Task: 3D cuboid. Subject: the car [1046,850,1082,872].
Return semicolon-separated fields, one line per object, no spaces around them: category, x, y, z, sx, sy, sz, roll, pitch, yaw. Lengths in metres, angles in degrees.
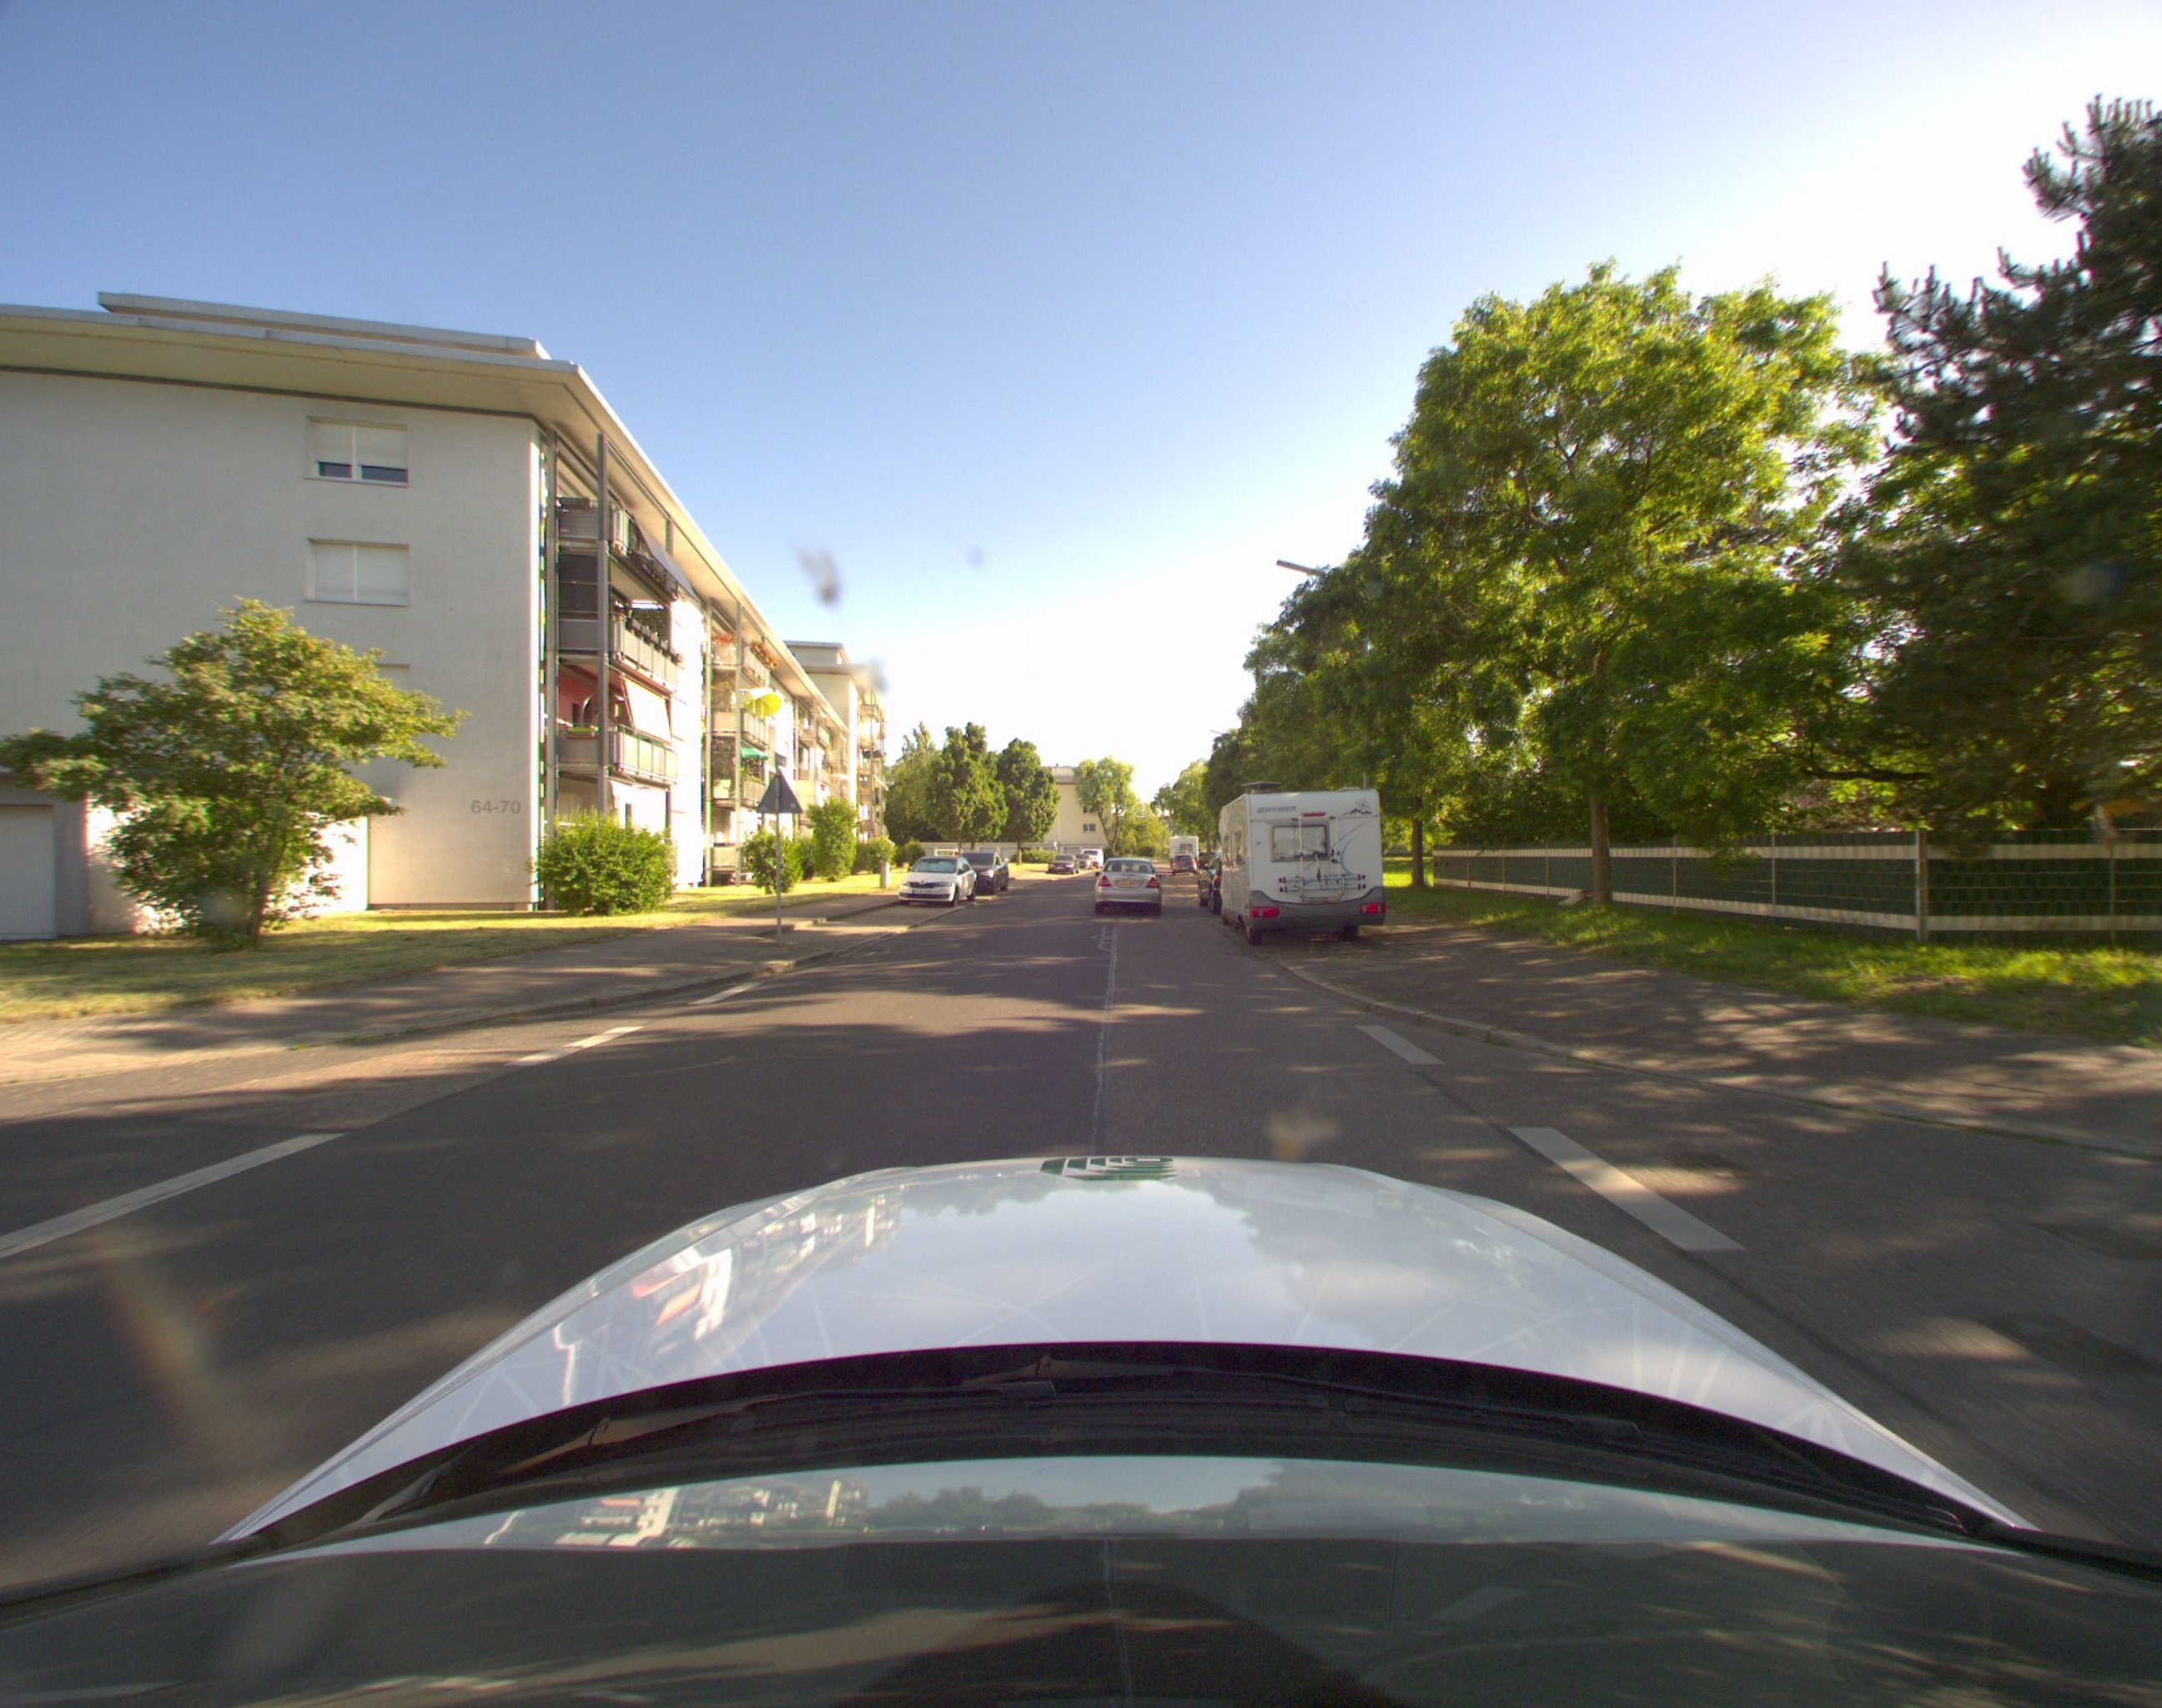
car;-1.209;0.487;60.209;2.024;1.493;5.265;0;0;6

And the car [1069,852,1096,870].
car;0.185;0.641;73.160;1.823;1.518;4.230;2;0;7

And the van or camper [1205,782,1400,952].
van or camper;4.028;0.201;16.236;2.342;2.596;6.431;-3;0;3

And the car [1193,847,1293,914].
car;4.439;0.672;23.023;1.986;1.640;4.538;-2;0;1

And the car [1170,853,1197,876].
car;7.421;0.727;59.163;1.712;1.524;4.435;-3;0;5

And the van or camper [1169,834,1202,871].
van or camper;8.422;-0.114;66.227;2.484;2.845;6.862;-1;0;6

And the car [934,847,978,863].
car;-15.912;0.165;104.053;5.069;1.951;2.246;-1;0;14

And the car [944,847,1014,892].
car;-3.871;0.559;31.829;1.906;1.604;4.815;-1;0;2

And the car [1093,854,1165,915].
car;1.256;0.758;21.425;1.726;1.434;3.441;1;-1;3

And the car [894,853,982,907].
car;-4.308;0.733;25.167;1.639;1.466;4.336;1;0;4

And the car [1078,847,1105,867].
car;1.078;0.278;79.772;2.003;1.885;5.201;1;0;7
